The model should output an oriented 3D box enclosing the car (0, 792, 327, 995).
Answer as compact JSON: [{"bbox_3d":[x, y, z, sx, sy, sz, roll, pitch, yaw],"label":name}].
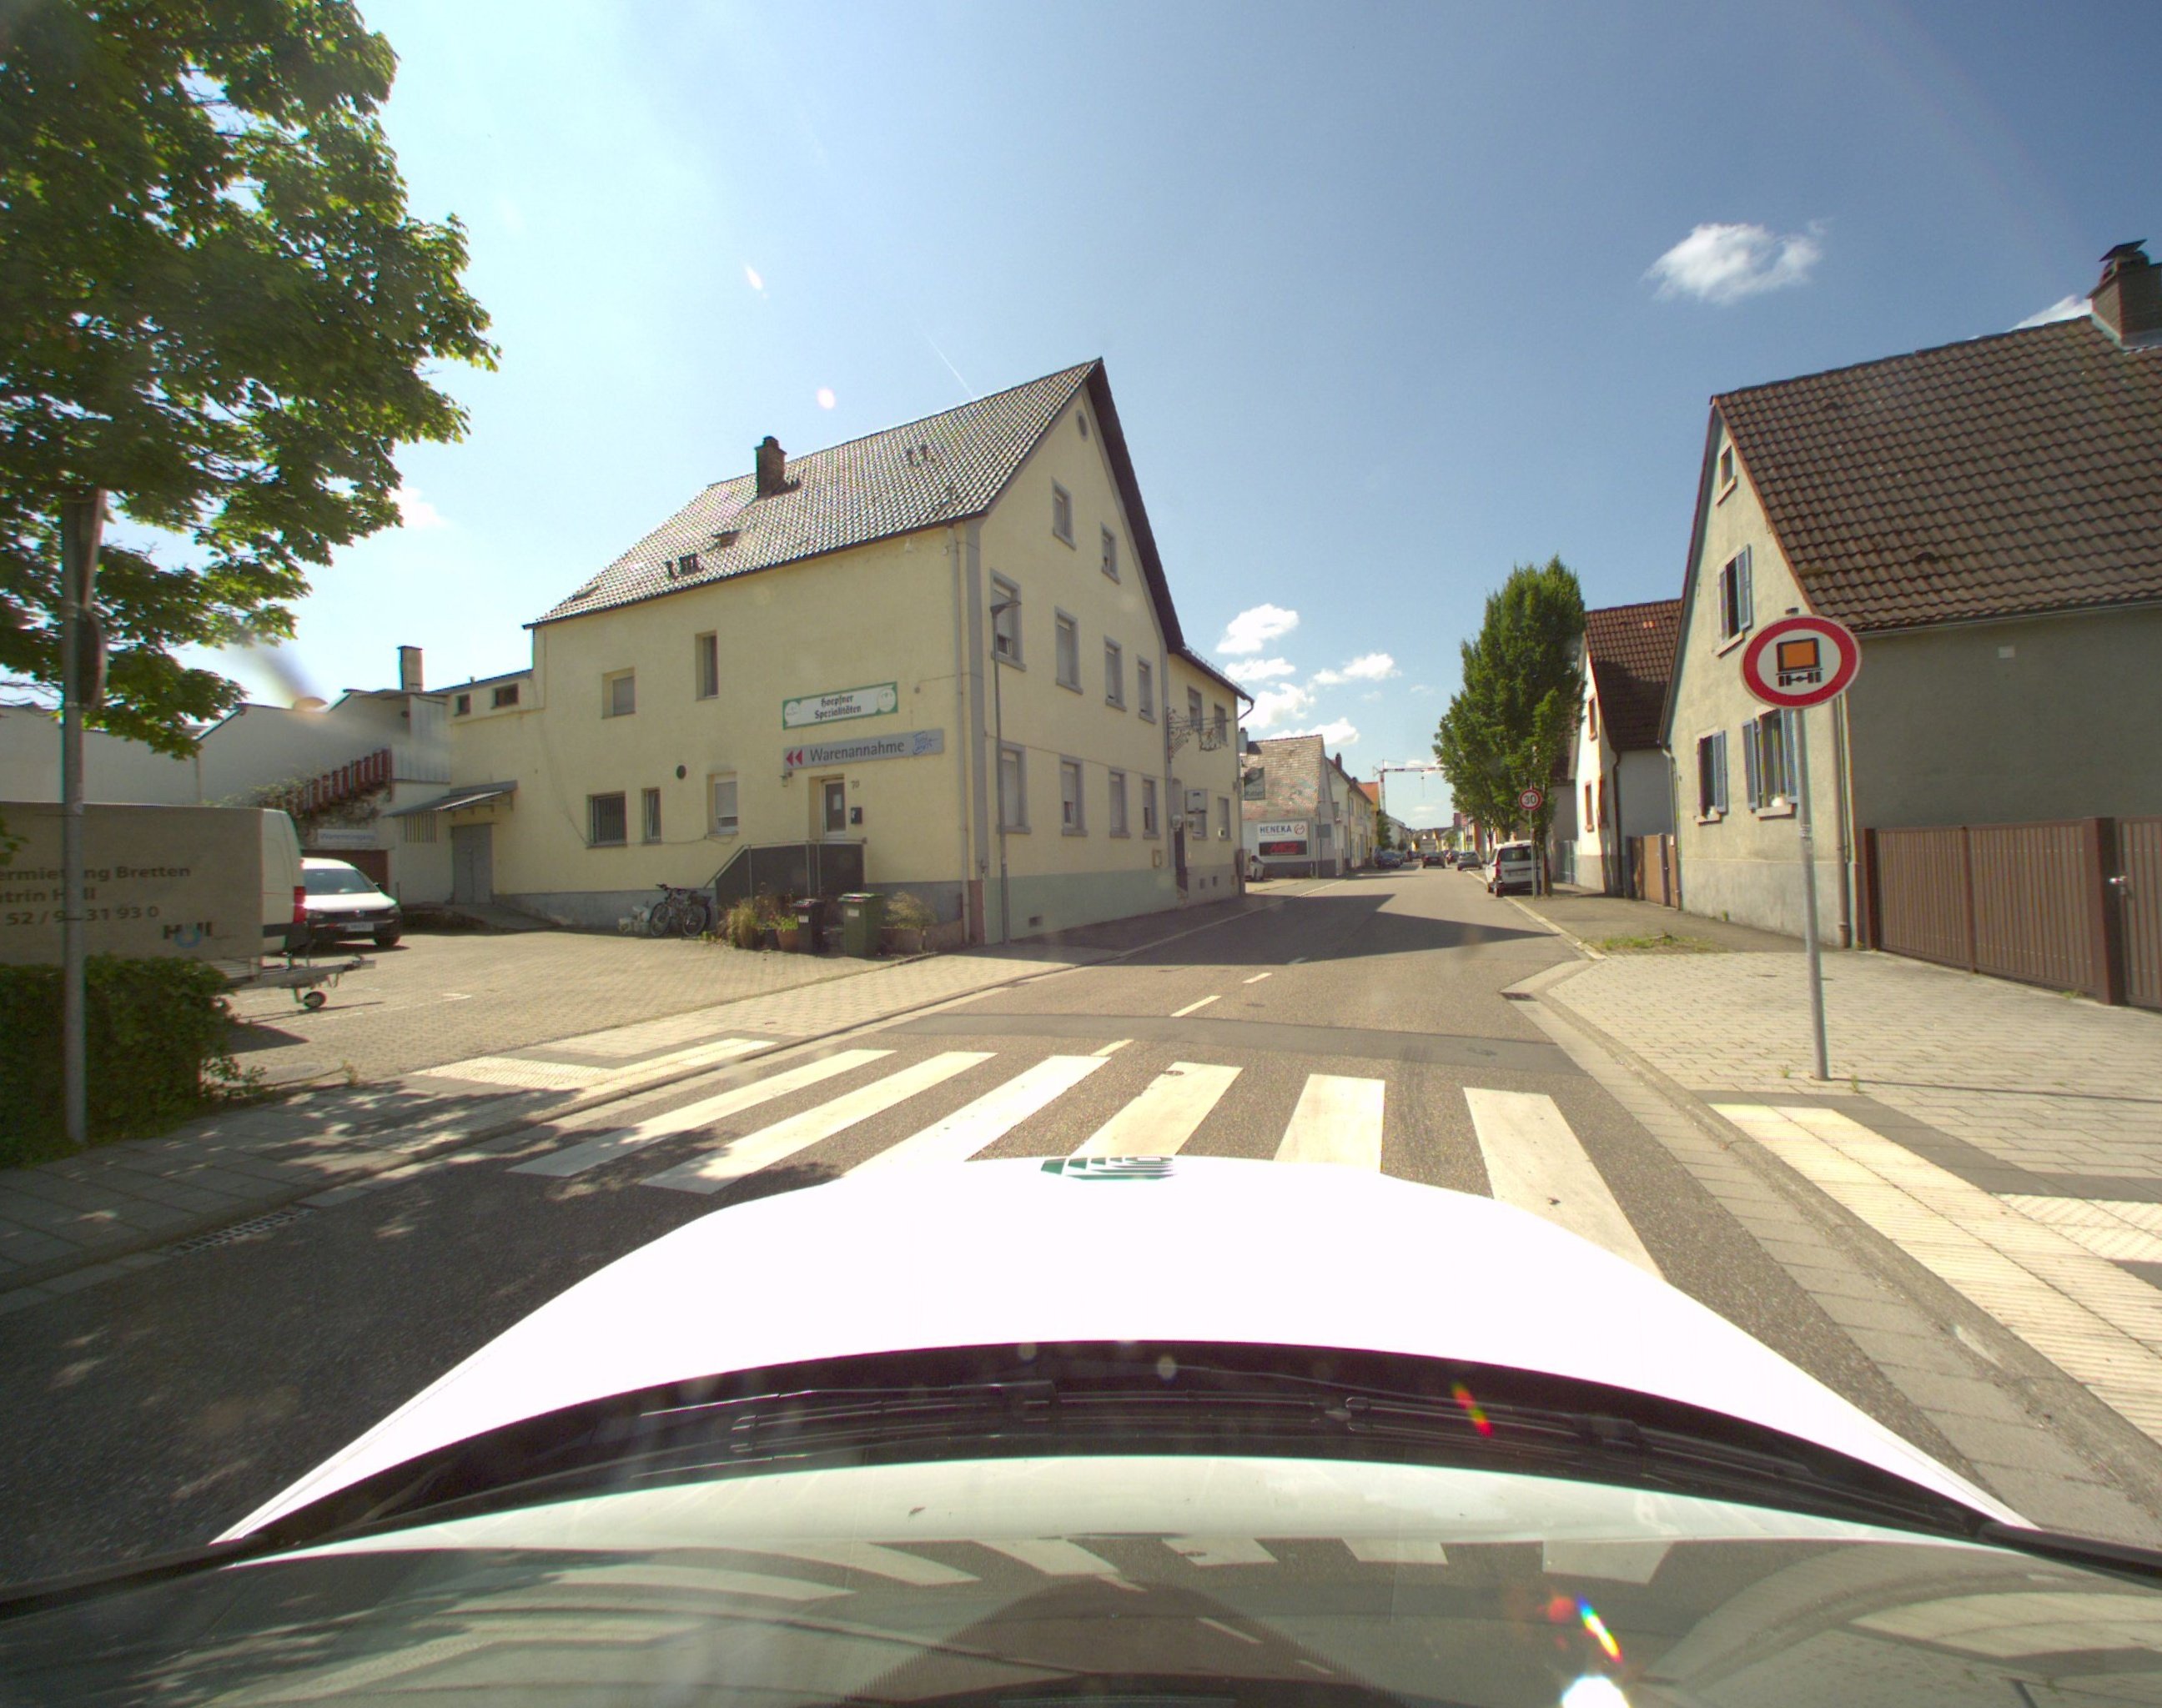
[{"bbox_3d":[-14.370,0.504,11.097,1.919,2.567,5.679,-1,0,24],"label":"car"}]

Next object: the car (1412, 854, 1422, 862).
[{"bbox_3d":[70.654,0.884,171.267,1.793,1.589,4.022,-2,-1,23],"label":"car"}]

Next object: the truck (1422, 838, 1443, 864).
[{"bbox_3d":[60.525,-0.433,140.123,3.116,4.250,9.355,0,-1,25],"label":"truck"}]

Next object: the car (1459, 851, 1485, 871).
[{"bbox_3d":[29.703,0.503,61.971,1.704,1.461,4.180,-2,-1,25],"label":"car"}]

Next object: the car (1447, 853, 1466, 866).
[{"bbox_3d":[40.645,0.575,88.247,1.704,1.355,4.180,-2,-1,24],"label":"car"}]

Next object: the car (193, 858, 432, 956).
[{"bbox_3d":[-15.518,0.960,16.441,4.526,1.759,1.916,0,-1,24],"label":"car"}]

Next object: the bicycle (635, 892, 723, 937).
[{"bbox_3d":[-8.750,1.315,17.681,2.149,0.913,0.546,-3,-1,28],"label":"bicycle"}]

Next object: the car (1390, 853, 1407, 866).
[{"bbox_3d":[39.296,0.659,100.747,1.793,1.589,4.022,-2,-1,23],"label":"car"}]

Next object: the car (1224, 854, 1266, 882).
[{"bbox_3d":[9.795,0.785,48.418,1.704,1.556,4.221,-1,0,22],"label":"car"}]

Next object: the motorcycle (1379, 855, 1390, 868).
[{"bbox_3d":[27.715,0.713,74.272,0.839,1.170,2.482,0,-1,22],"label":"motorcycle"}]

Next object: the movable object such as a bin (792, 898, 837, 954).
[{"bbox_3d":[-4.692,1.256,14.324,0.474,0.928,0.550,-3,-1,26],"label":"movable object such as a bin"}]

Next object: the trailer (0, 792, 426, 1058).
[{"bbox_3d":[-9.959,0.627,8.462,1.862,2.335,4.549,-1,0,24],"label":"trailer"}]

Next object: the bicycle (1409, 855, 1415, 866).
[{"bbox_3d":[40.646,0.801,99.981,0.744,1.308,2.700,0,-1,23],"label":"bicycle"}]

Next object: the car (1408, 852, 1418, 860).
[{"bbox_3d":[67.447,0.311,165.394,1.793,1.589,4.022,-2,-1,23],"label":"car"}]

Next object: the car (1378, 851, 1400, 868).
[{"bbox_3d":[29.434,0.516,77.811,1.793,1.589,4.022,-2,-1,23],"label":"car"}]

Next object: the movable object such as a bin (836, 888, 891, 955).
[{"bbox_3d":[-3.739,1.153,14.017,0.594,1.079,0.662,-3,-1,26],"label":"movable object such as a bin"}]

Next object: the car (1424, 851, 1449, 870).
[{"bbox_3d":[31.149,0.570,71.279,1.885,1.564,4.502,-2,0,25],"label":"car"}]

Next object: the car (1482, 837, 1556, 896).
[{"bbox_3d":[14.965,0.396,28.011,1.704,1.790,4.166,-4,-1,22],"label":"car"}]

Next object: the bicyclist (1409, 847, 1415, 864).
[{"bbox_3d":[40.679,0.162,100.061,0.733,2.059,0.849,0,-1,23],"label":"bicyclist"}]
